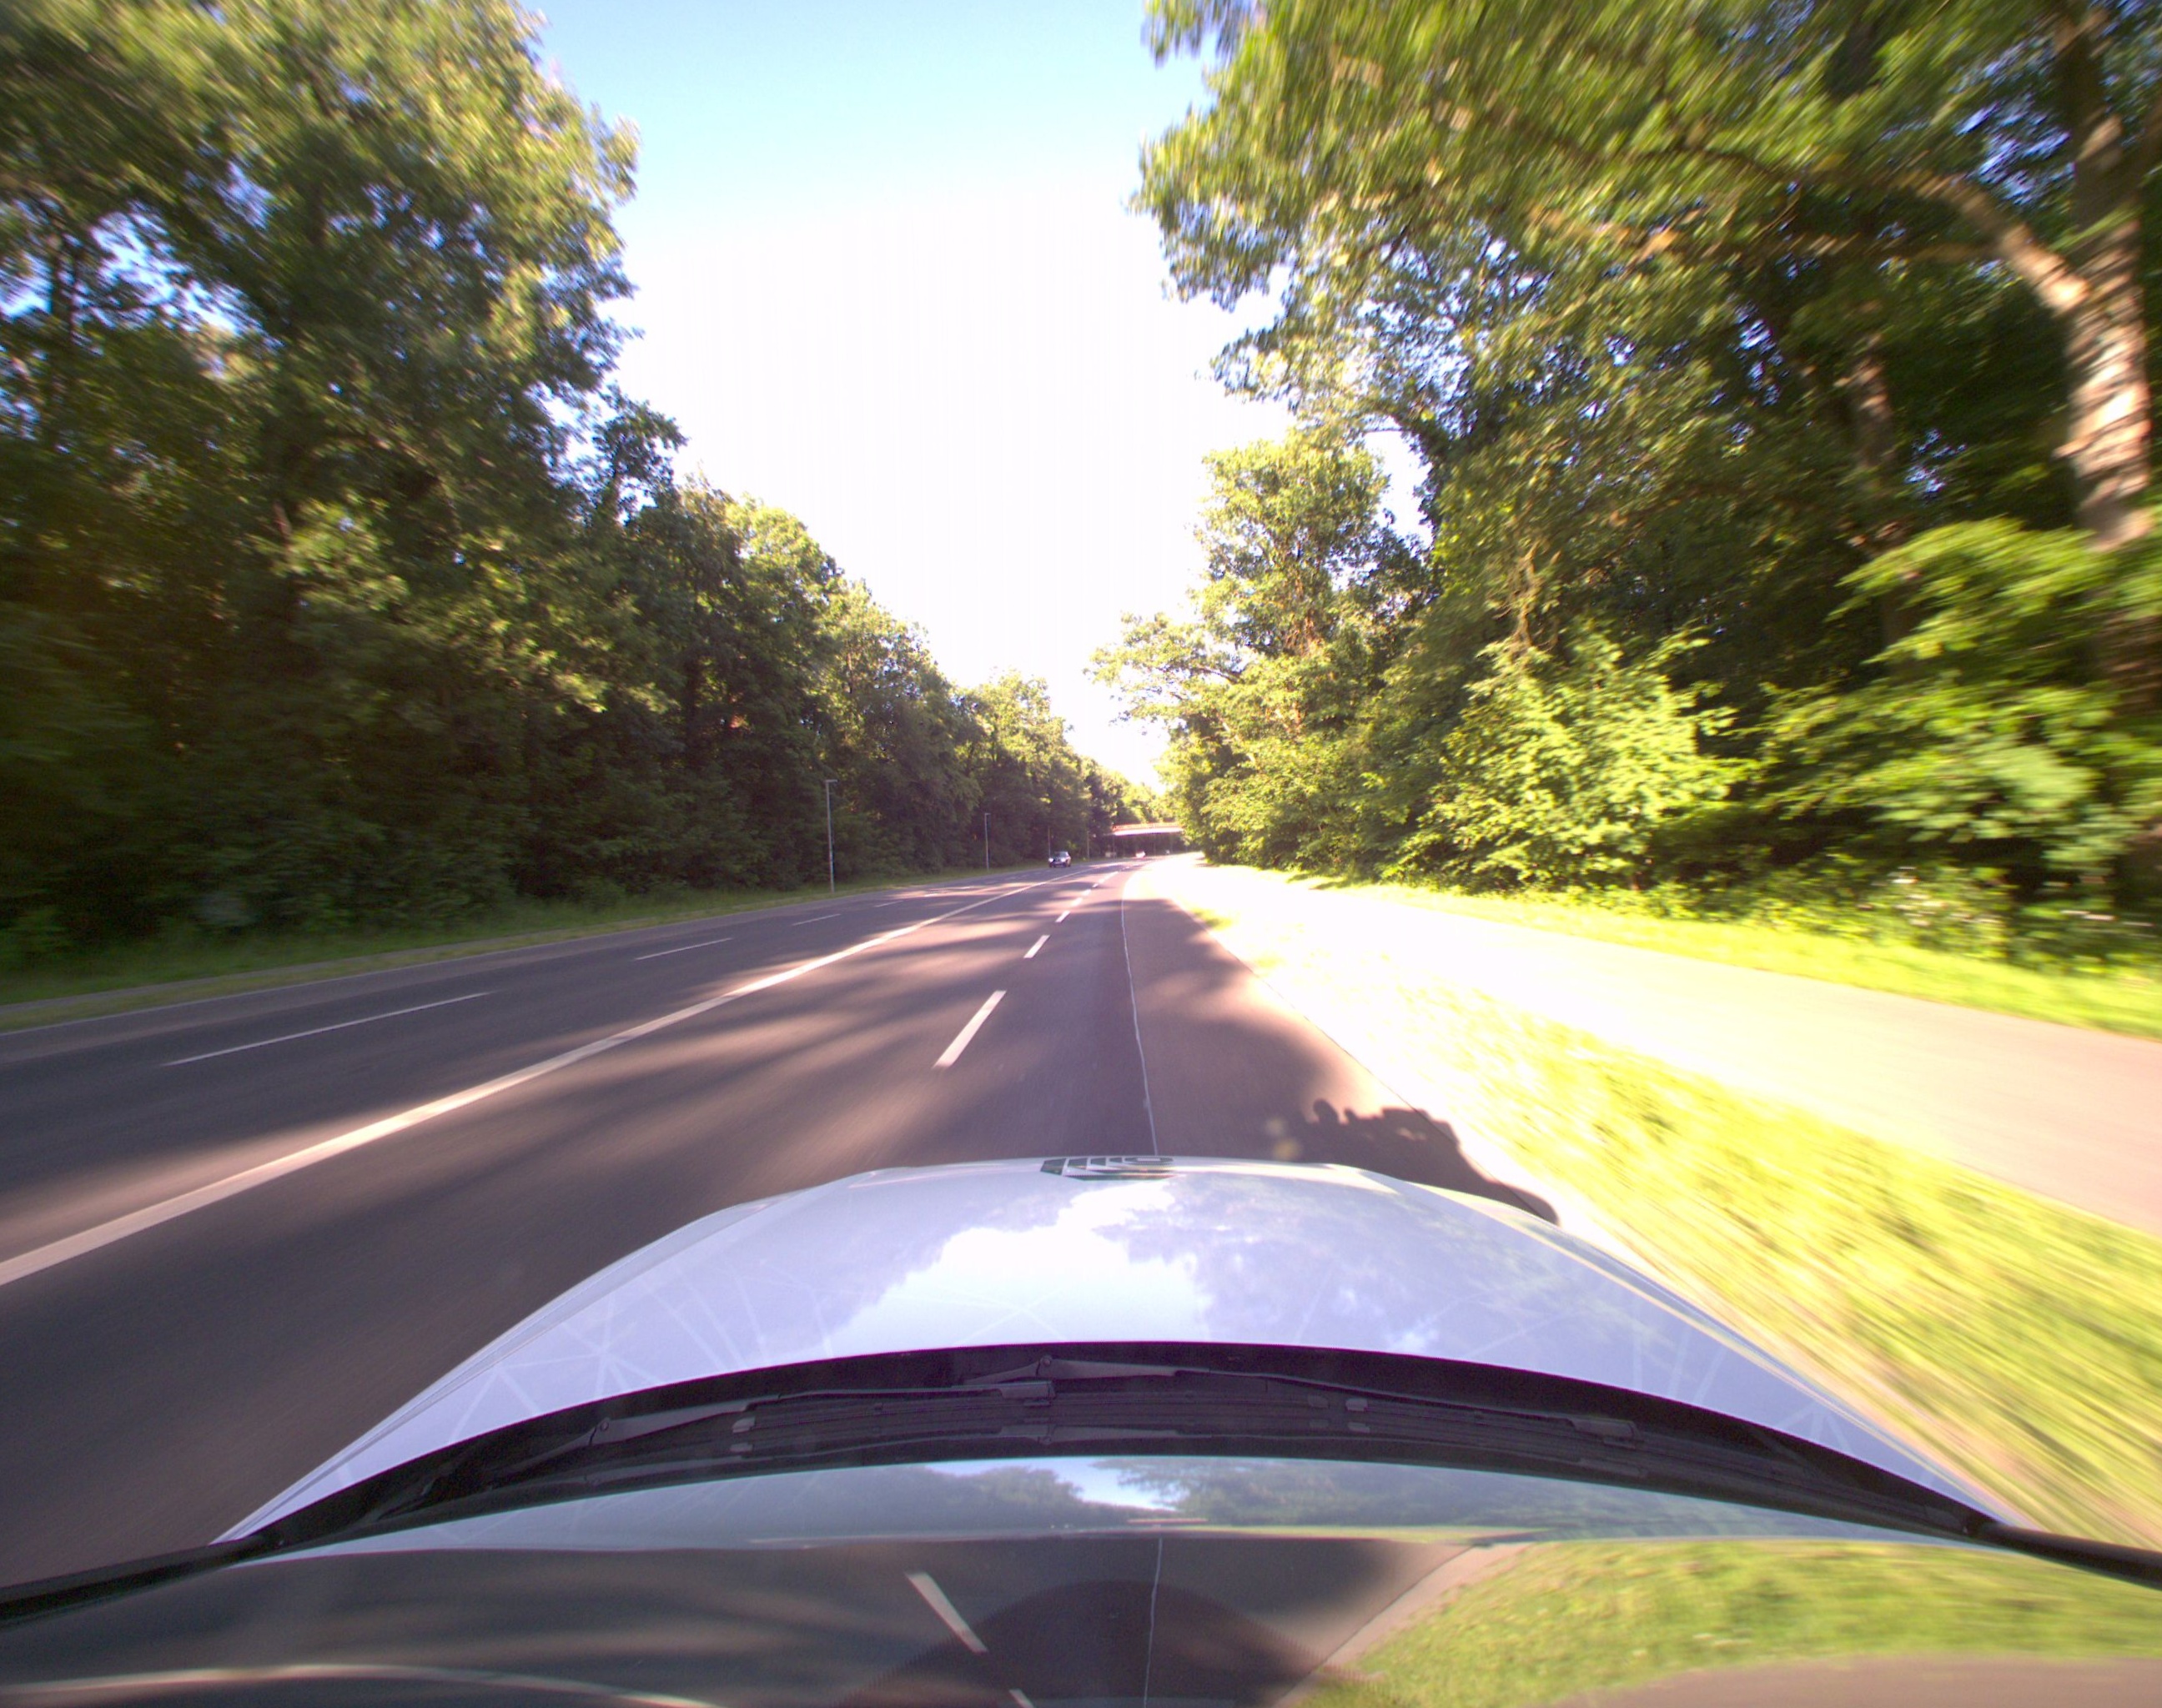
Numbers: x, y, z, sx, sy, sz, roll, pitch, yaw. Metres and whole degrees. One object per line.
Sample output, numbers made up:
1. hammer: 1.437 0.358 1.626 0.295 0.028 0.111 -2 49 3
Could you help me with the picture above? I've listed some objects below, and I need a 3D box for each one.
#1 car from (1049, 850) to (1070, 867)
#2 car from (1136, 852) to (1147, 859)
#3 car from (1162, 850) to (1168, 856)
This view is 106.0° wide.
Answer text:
1. car: -2.181 0.487 84.655 1.800 1.663 4.525 -2 0 3
2. car: 13.765 0.305 184.712 1.697 1.423 4.146 -2 0 14
3. car: 24.032 -0.261 232.395 1.487 1.444 3.507 -2 0 6
